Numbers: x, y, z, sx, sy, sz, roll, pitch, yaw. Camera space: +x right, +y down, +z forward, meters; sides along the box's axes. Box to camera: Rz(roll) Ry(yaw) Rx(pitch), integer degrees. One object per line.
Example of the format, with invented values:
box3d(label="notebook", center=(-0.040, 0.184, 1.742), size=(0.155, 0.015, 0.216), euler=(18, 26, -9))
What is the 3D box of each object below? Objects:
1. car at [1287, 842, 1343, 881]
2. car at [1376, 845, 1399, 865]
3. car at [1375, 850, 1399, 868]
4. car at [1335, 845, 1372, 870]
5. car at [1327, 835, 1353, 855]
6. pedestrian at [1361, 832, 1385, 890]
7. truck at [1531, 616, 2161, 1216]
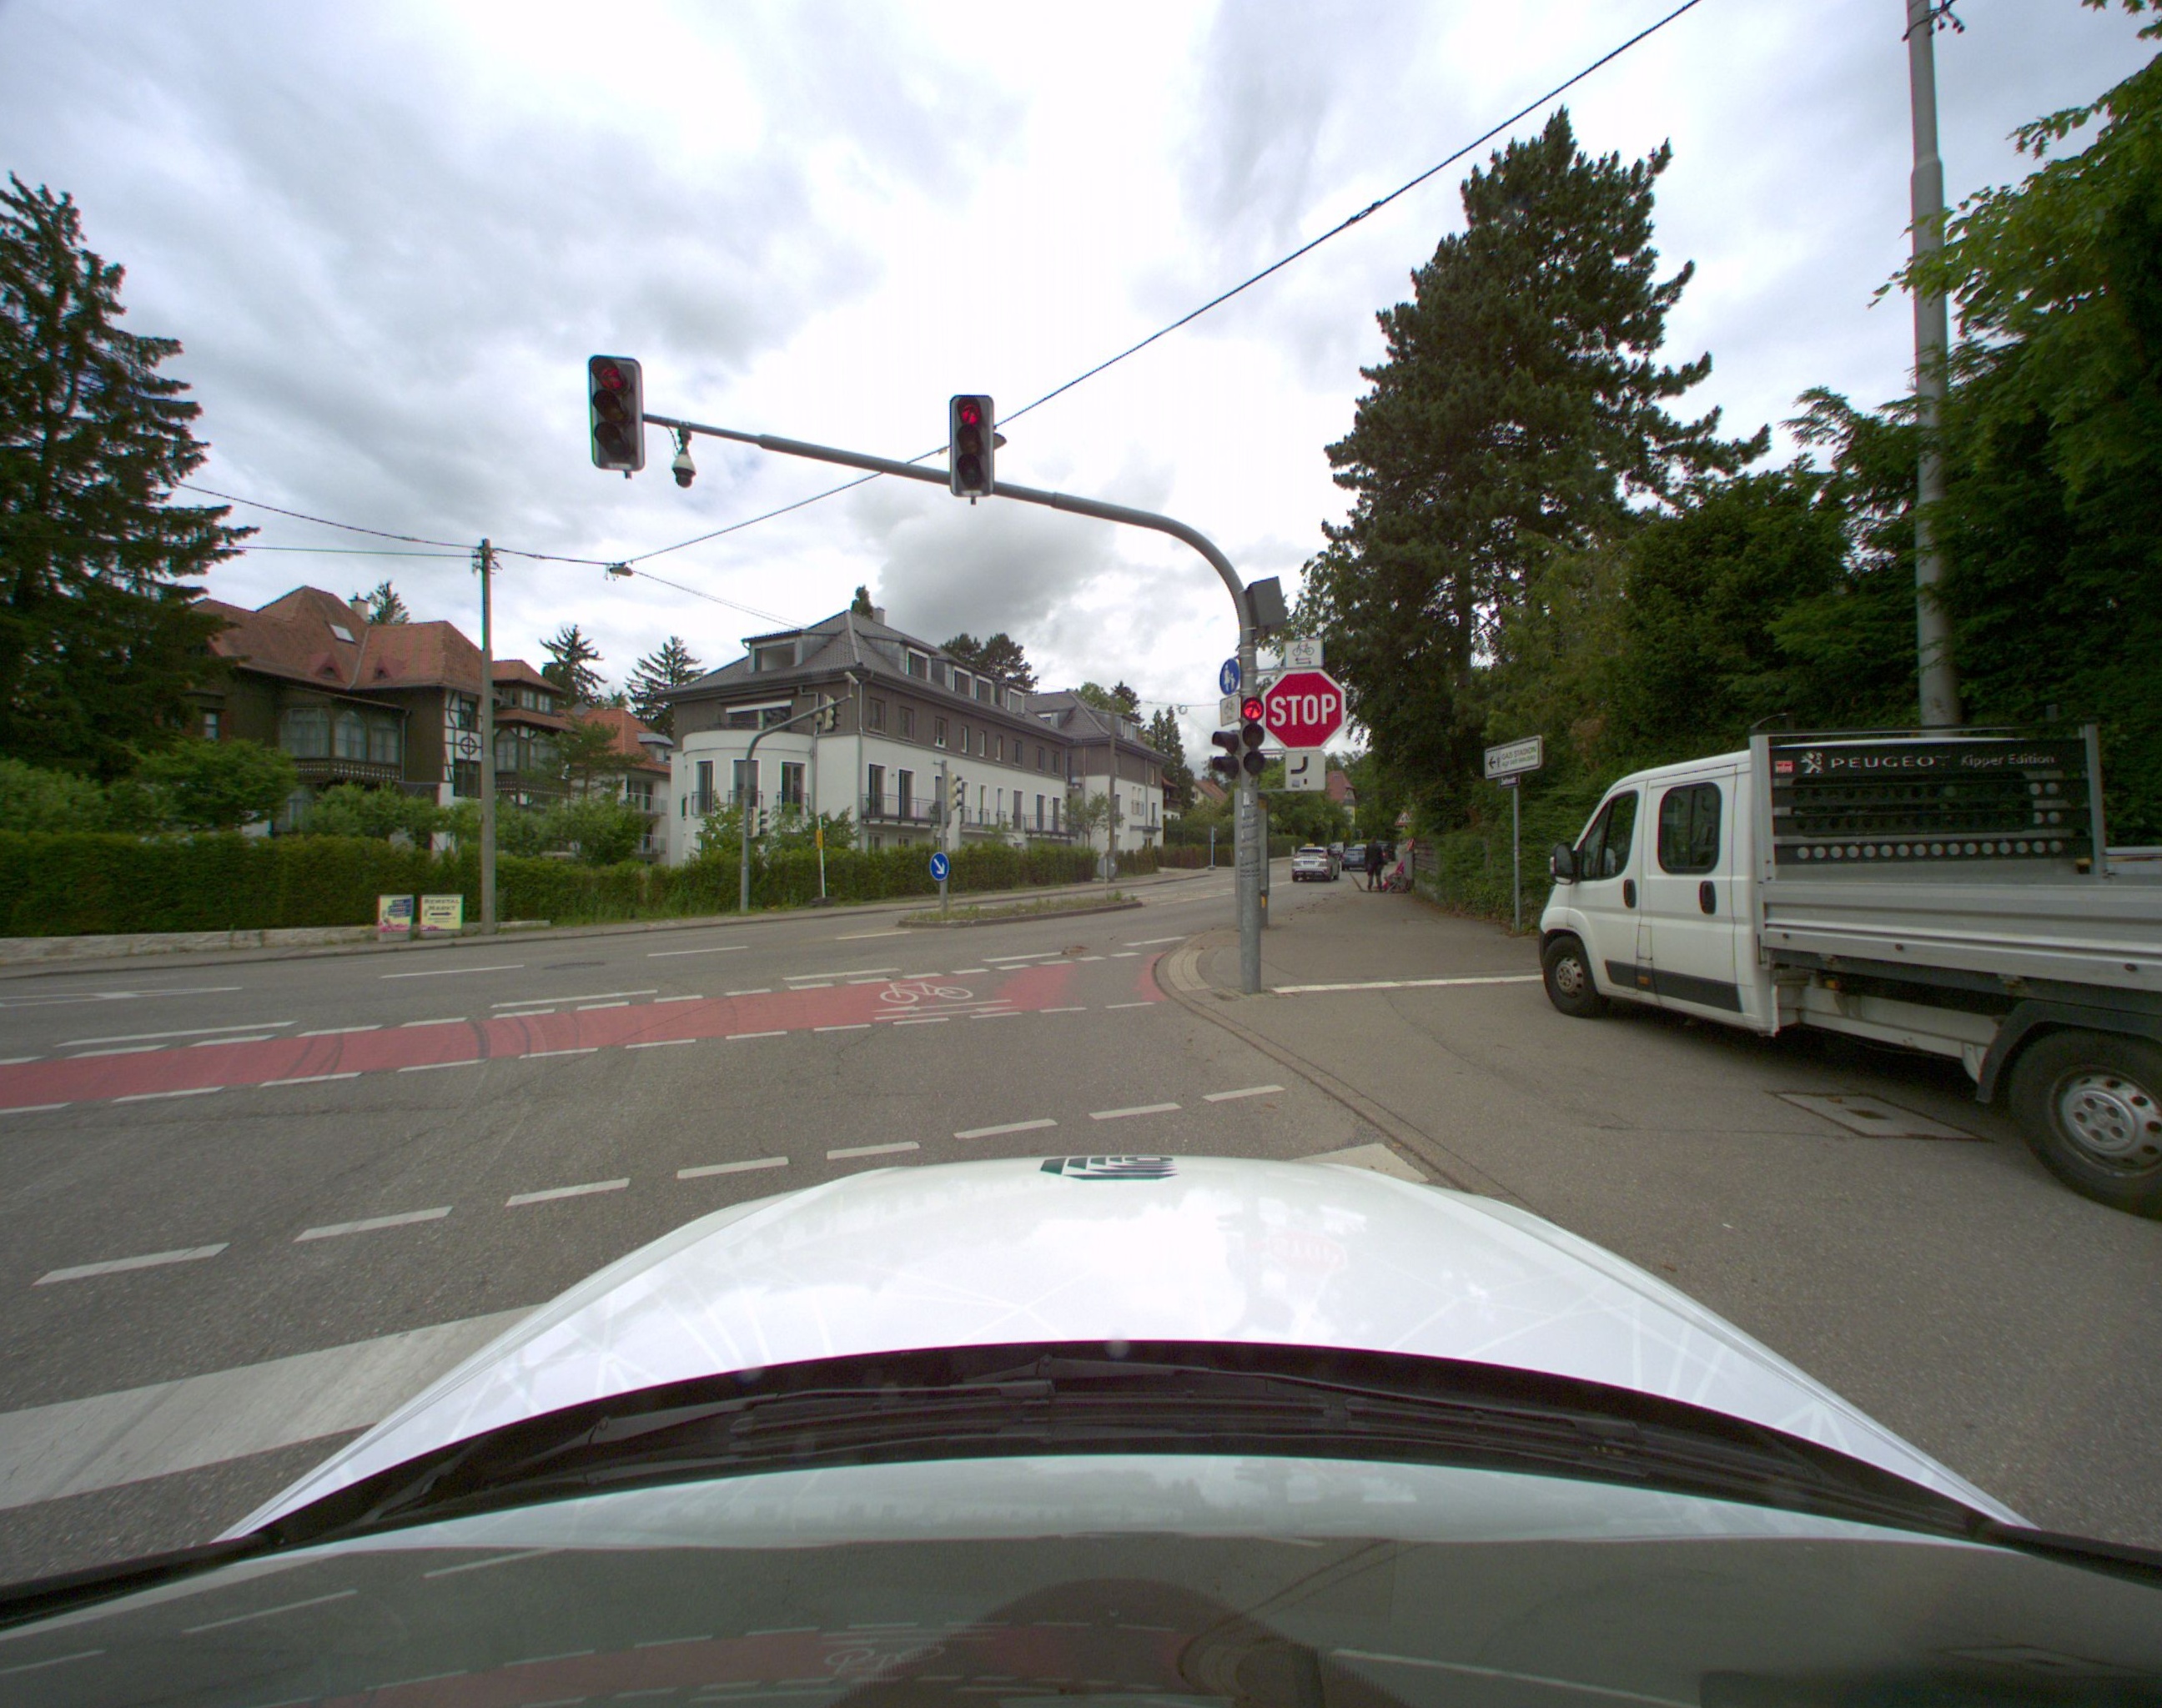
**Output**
box3d(label="car", center=(11.322, 0.332, 39.207), size=(1.791, 1.753, 4.513), euler=(-2, 0, 25))
box3d(label="car", center=(30.207, 0.044, 80.248), size=(1.902, 1.894, 4.935), euler=(1, 1, 23))
box3d(label="car", center=(25.582, 0.380, 68.079), size=(1.679, 1.430, 3.769), euler=(-2, 0, 23))
box3d(label="car", center=(17.879, 0.175, 53.291), size=(1.783, 1.527, 4.770), euler=(-2, 0, 24))
box3d(label="car", center=(26.543, -0.869, 83.432), size=(1.895, 1.881, 5.170), euler=(-2, -1, 24))
box3d(label="pedestrian", center=(9.793, 0.237, 27.333), size=(0.594, 1.907, 0.559), euler=(0, -1, 2))
box3d(label="truck", center=(5.265, 0.231, 4.953), size=(2.198, 2.243, 5.729), euler=(0, 0, 4))
